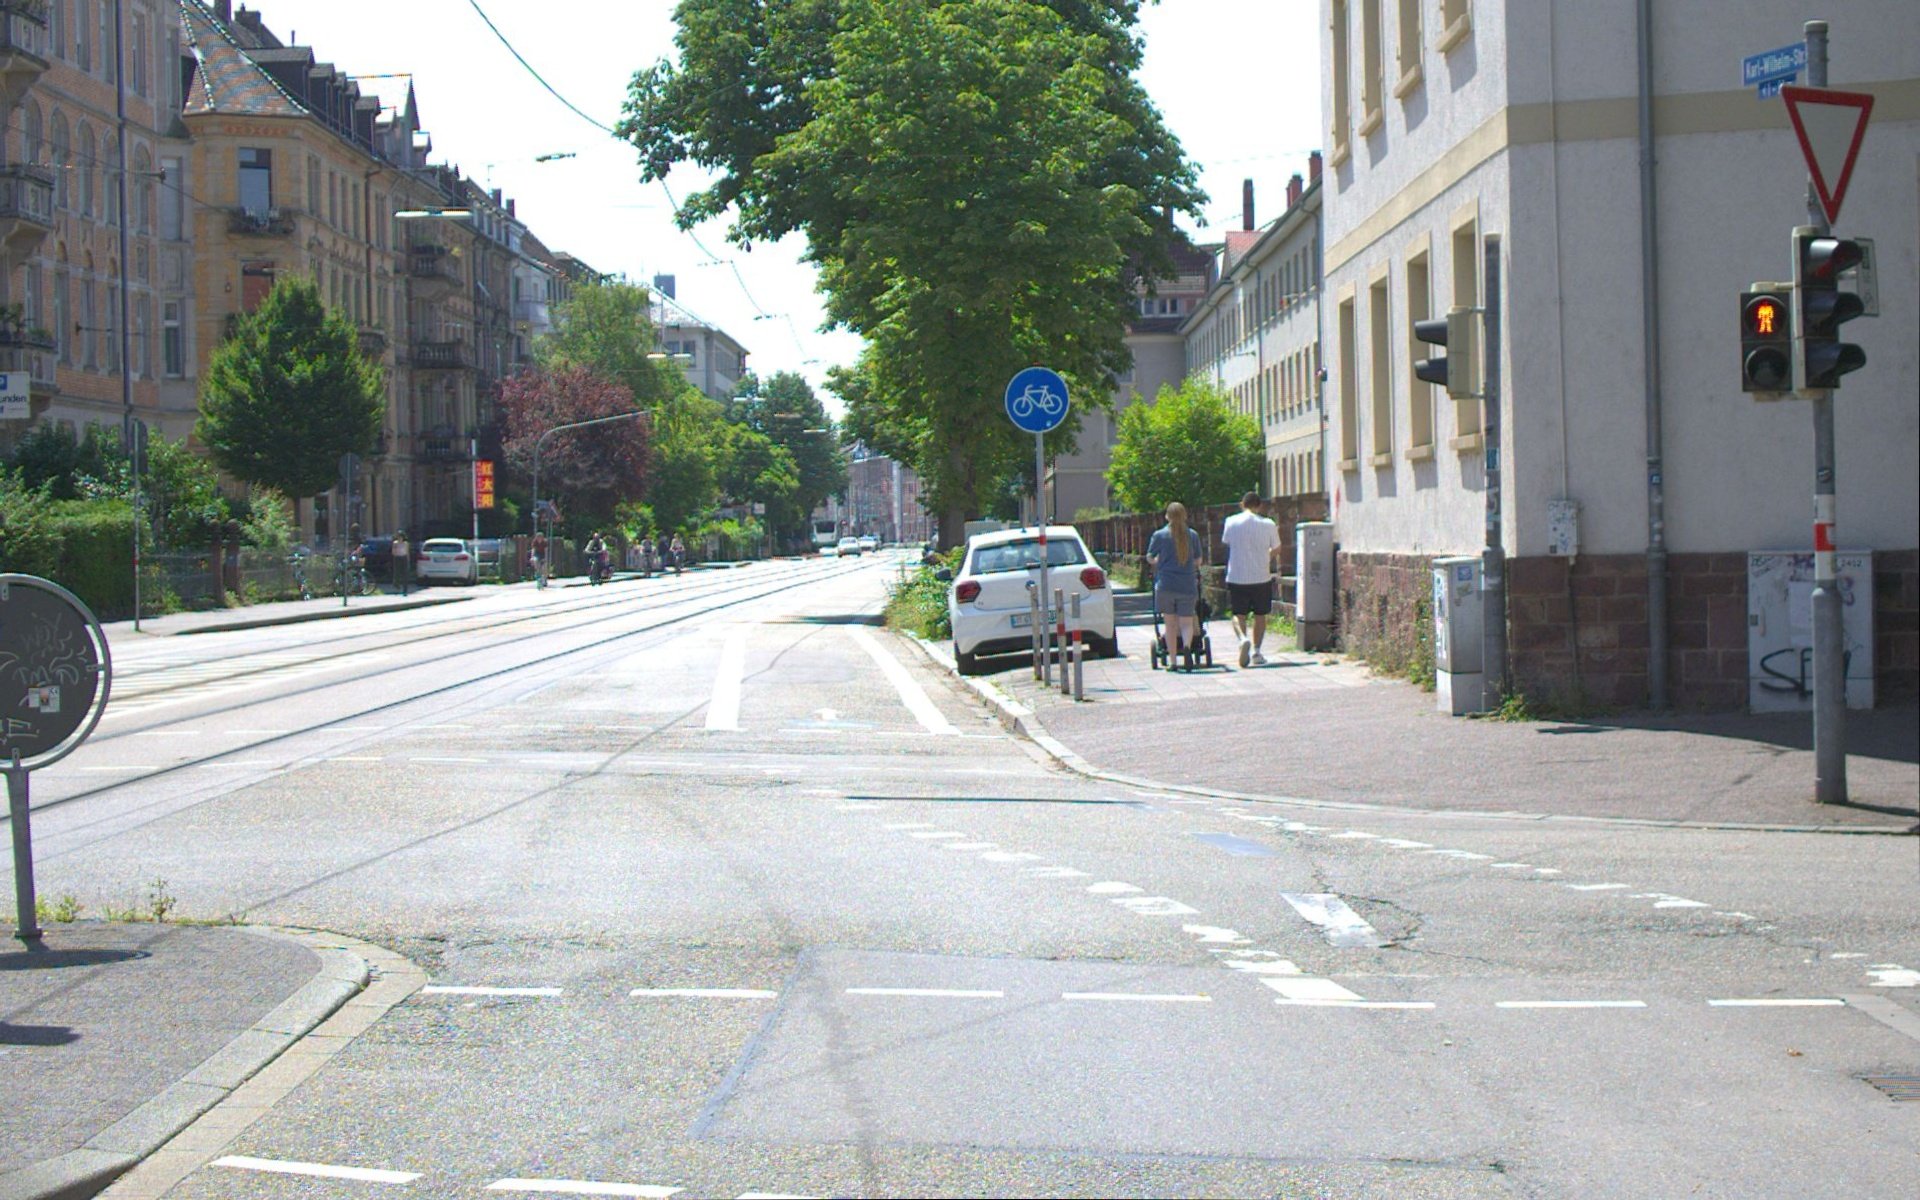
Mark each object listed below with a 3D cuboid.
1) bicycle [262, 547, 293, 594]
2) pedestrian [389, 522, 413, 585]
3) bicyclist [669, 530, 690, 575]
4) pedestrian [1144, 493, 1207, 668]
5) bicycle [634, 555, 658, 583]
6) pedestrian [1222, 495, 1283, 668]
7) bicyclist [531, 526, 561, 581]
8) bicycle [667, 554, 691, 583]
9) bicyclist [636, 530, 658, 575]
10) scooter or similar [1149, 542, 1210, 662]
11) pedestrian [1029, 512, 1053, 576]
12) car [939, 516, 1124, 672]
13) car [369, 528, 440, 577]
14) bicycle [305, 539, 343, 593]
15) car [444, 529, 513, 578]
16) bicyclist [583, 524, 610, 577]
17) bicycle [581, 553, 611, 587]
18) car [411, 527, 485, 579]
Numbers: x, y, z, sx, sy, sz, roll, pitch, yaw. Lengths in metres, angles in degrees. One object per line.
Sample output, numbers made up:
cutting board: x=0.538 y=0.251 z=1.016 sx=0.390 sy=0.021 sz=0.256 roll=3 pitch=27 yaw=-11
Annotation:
bicycle: x=-15.900 y=-0.694 z=80.032 sx=0.677 sy=1.061 sz=1.919 roll=-1 pitch=1 yaw=-11
pedestrian: x=-14.829 y=-1.229 z=91.168 sx=0.521 sy=1.653 sz=0.529 roll=-1 pitch=1 yaw=-1
bicyclist: x=-11.343 y=-1.911 z=138.890 sx=0.727 sy=1.812 sz=1.079 roll=1 pitch=0 yaw=1
pedestrian: x=2.057 y=-0.187 z=32.810 sx=0.557 sy=1.640 sz=0.677 roll=1 pitch=0 yaw=5
bicycle: x=-12.651 y=-1.263 z=138.714 sx=0.727 sy=1.119 sz=2.085 roll=1 pitch=1 yaw=1
pedestrian: x=2.812 y=-0.179 z=33.047 sx=0.557 sy=1.640 sz=0.677 roll=1 pitch=0 yaw=5
bicyclist: x=-12.415 y=-1.391 z=103.039 sx=0.727 sy=1.623 sz=1.079 roll=1 pitch=0 yaw=1
bicycle: x=-11.360 y=-1.273 z=138.861 sx=0.727 sy=1.119 sz=2.085 roll=1 pitch=1 yaw=1
bicyclist: x=-12.629 y=-1.903 z=138.806 sx=0.727 sy=1.812 sz=1.079 roll=1 pitch=0 yaw=1
scooter or similar: x=2.152 y=0.015 z=33.764 sx=0.557 sy=1.151 sz=1.205 roll=1 pitch=0 yaw=3
pedestrian: x=1.996 y=-1.372 z=84.665 sx=0.521 sy=1.557 sz=0.573 roll=-1 pitch=1 yaw=-1
car: x=0.722 y=-0.081 z=37.317 sx=1.815 sy=1.511 sz=4.000 roll=-3 pitch=1 yaw=-1
car: x=-20.011 y=-1.691 z=123.909 sx=1.919 sy=1.709 sz=4.000 roll=1 pitch=1 yaw=-1
bicycle: x=-15.656 y=-0.844 z=84.674 sx=0.677 sy=1.274 sz=1.919 roll=-1 pitch=1 yaw=-3
car: x=-17.325 y=-1.653 z=123.835 sx=1.919 sy=1.709 sz=4.000 roll=1 pitch=1 yaw=-1
bicyclist: x=-12.251 y=-1.678 z=115.872 sx=0.727 sy=1.762 sz=1.079 roll=1 pitch=0 yaw=1
bicycle: x=-12.273 y=-1.023 z=115.871 sx=0.727 sy=1.119 sz=2.085 roll=1 pitch=1 yaw=1
car: x=-17.182 y=-1.569 z=115.571 sx=1.919 sy=1.709 sz=4.000 roll=1 pitch=1 yaw=-1
